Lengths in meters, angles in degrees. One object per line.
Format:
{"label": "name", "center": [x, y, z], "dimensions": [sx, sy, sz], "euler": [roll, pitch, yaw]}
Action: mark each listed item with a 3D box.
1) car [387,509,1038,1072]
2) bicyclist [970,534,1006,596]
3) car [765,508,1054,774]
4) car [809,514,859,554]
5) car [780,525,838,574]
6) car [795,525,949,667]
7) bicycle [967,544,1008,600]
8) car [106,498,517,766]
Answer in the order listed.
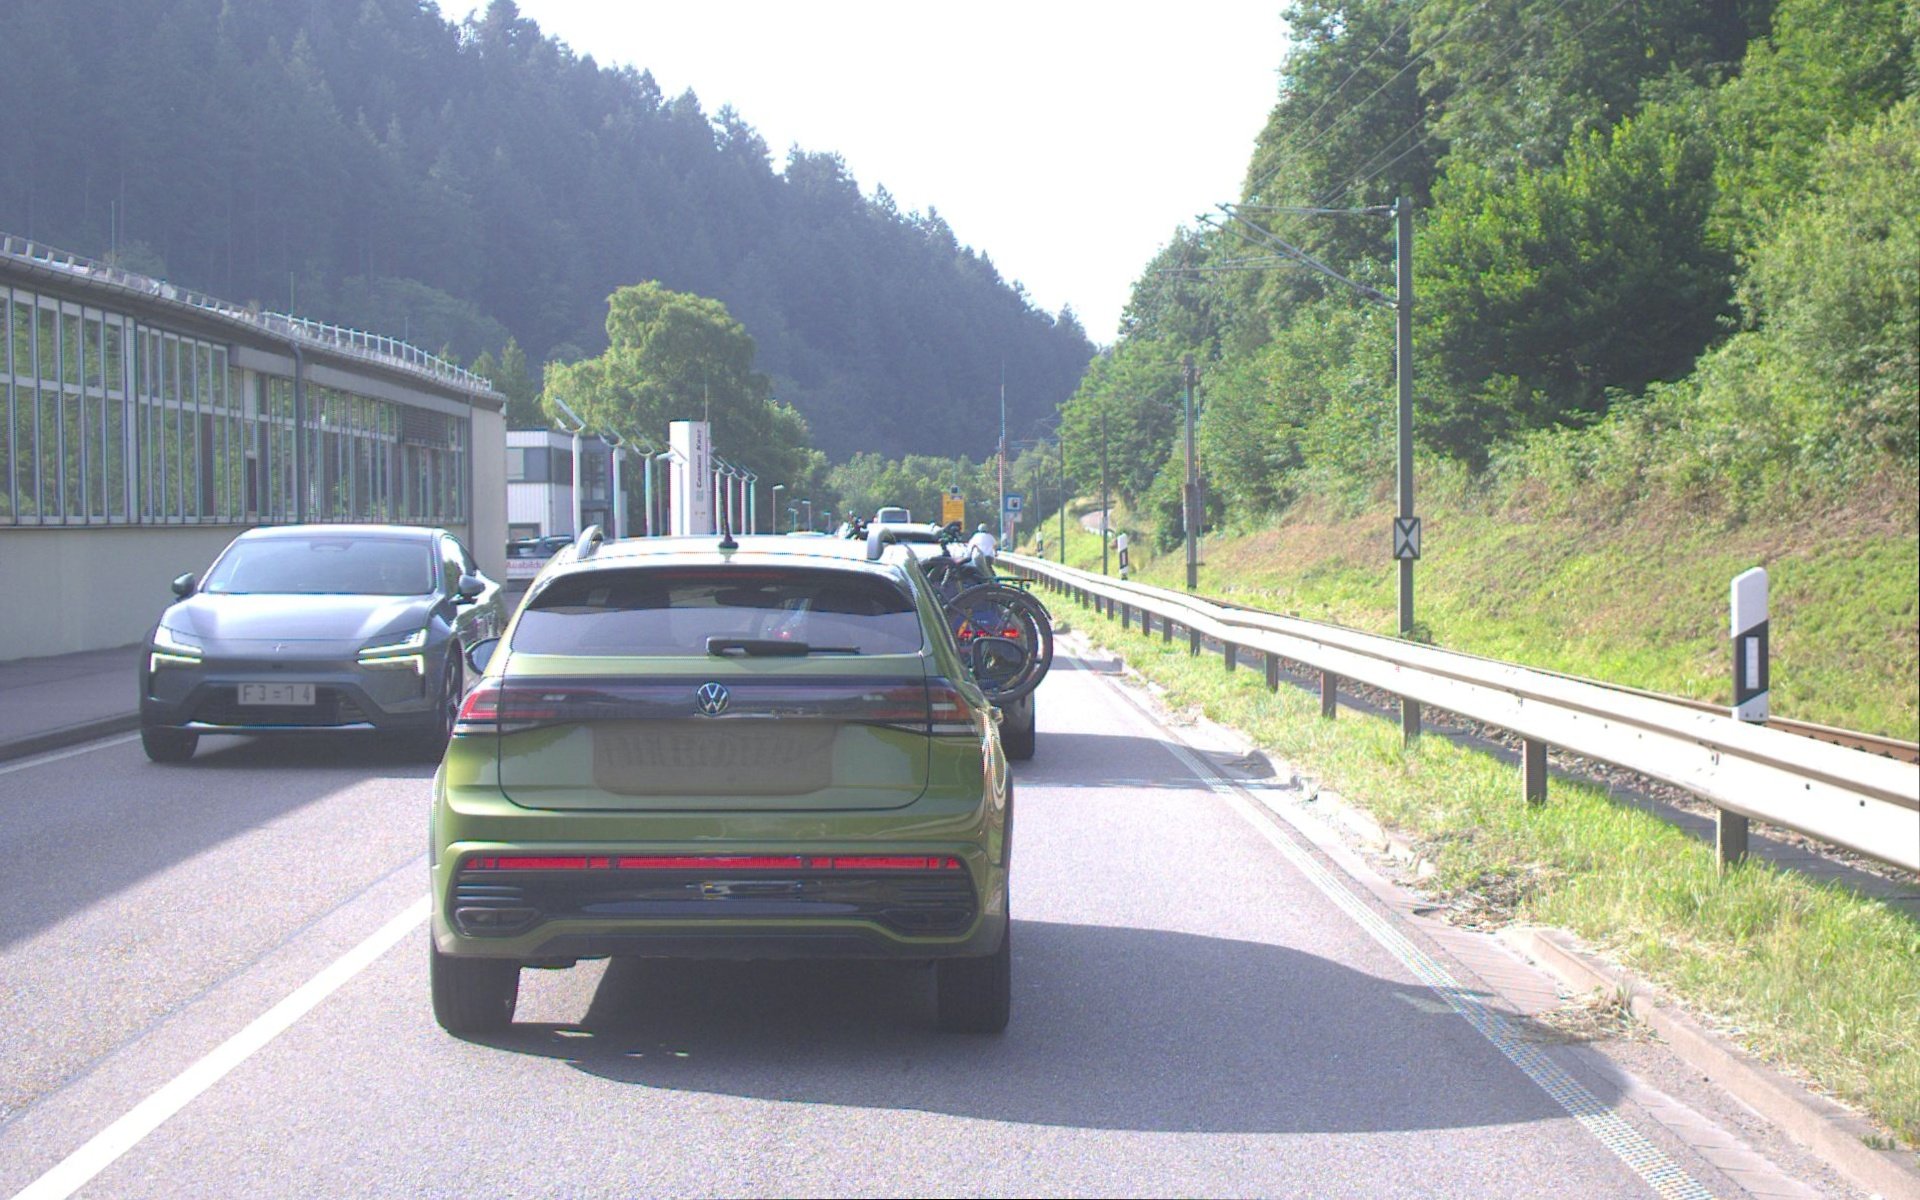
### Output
{"label": "car", "center": [-0.724, 0.485, 11.317], "dimensions": [1.739, 1.503, 4.000], "euler": [1, 1, -2]}
{"label": "bicyclist", "center": [0.641, -0.797, 78.518], "dimensions": [0.781, 1.407, 0.675], "euler": [0, 1, -2]}
{"label": "car", "center": [-0.362, 0.218, 23.080], "dimensions": [1.739, 1.596, 4.000], "euler": [1, 1, -2]}
{"label": "car", "center": [-4.847, -2.541, 132.480], "dimensions": [1.773, 1.485, 4.052], "euler": [2, 1, -1]}
{"label": "car", "center": [-4.971, -1.679, 113.542], "dimensions": [1.719, 1.509, 4.199], "euler": [2, 1, -1]}
{"label": "car", "center": [-1.062, -0.082, 41.551], "dimensions": [1.739, 1.596, 4.000], "euler": [1, 1, -2]}
{"label": "bicycle", "center": [0.625, -0.645, 78.674], "dimensions": [0.811, 1.246, 2.123], "euler": [0, 1, -3]}
{"label": "car", "center": [-4.264, 0.159, 23.316], "dimensions": [1.930, 1.576, 4.458], "euler": [2, 1, -1]}
